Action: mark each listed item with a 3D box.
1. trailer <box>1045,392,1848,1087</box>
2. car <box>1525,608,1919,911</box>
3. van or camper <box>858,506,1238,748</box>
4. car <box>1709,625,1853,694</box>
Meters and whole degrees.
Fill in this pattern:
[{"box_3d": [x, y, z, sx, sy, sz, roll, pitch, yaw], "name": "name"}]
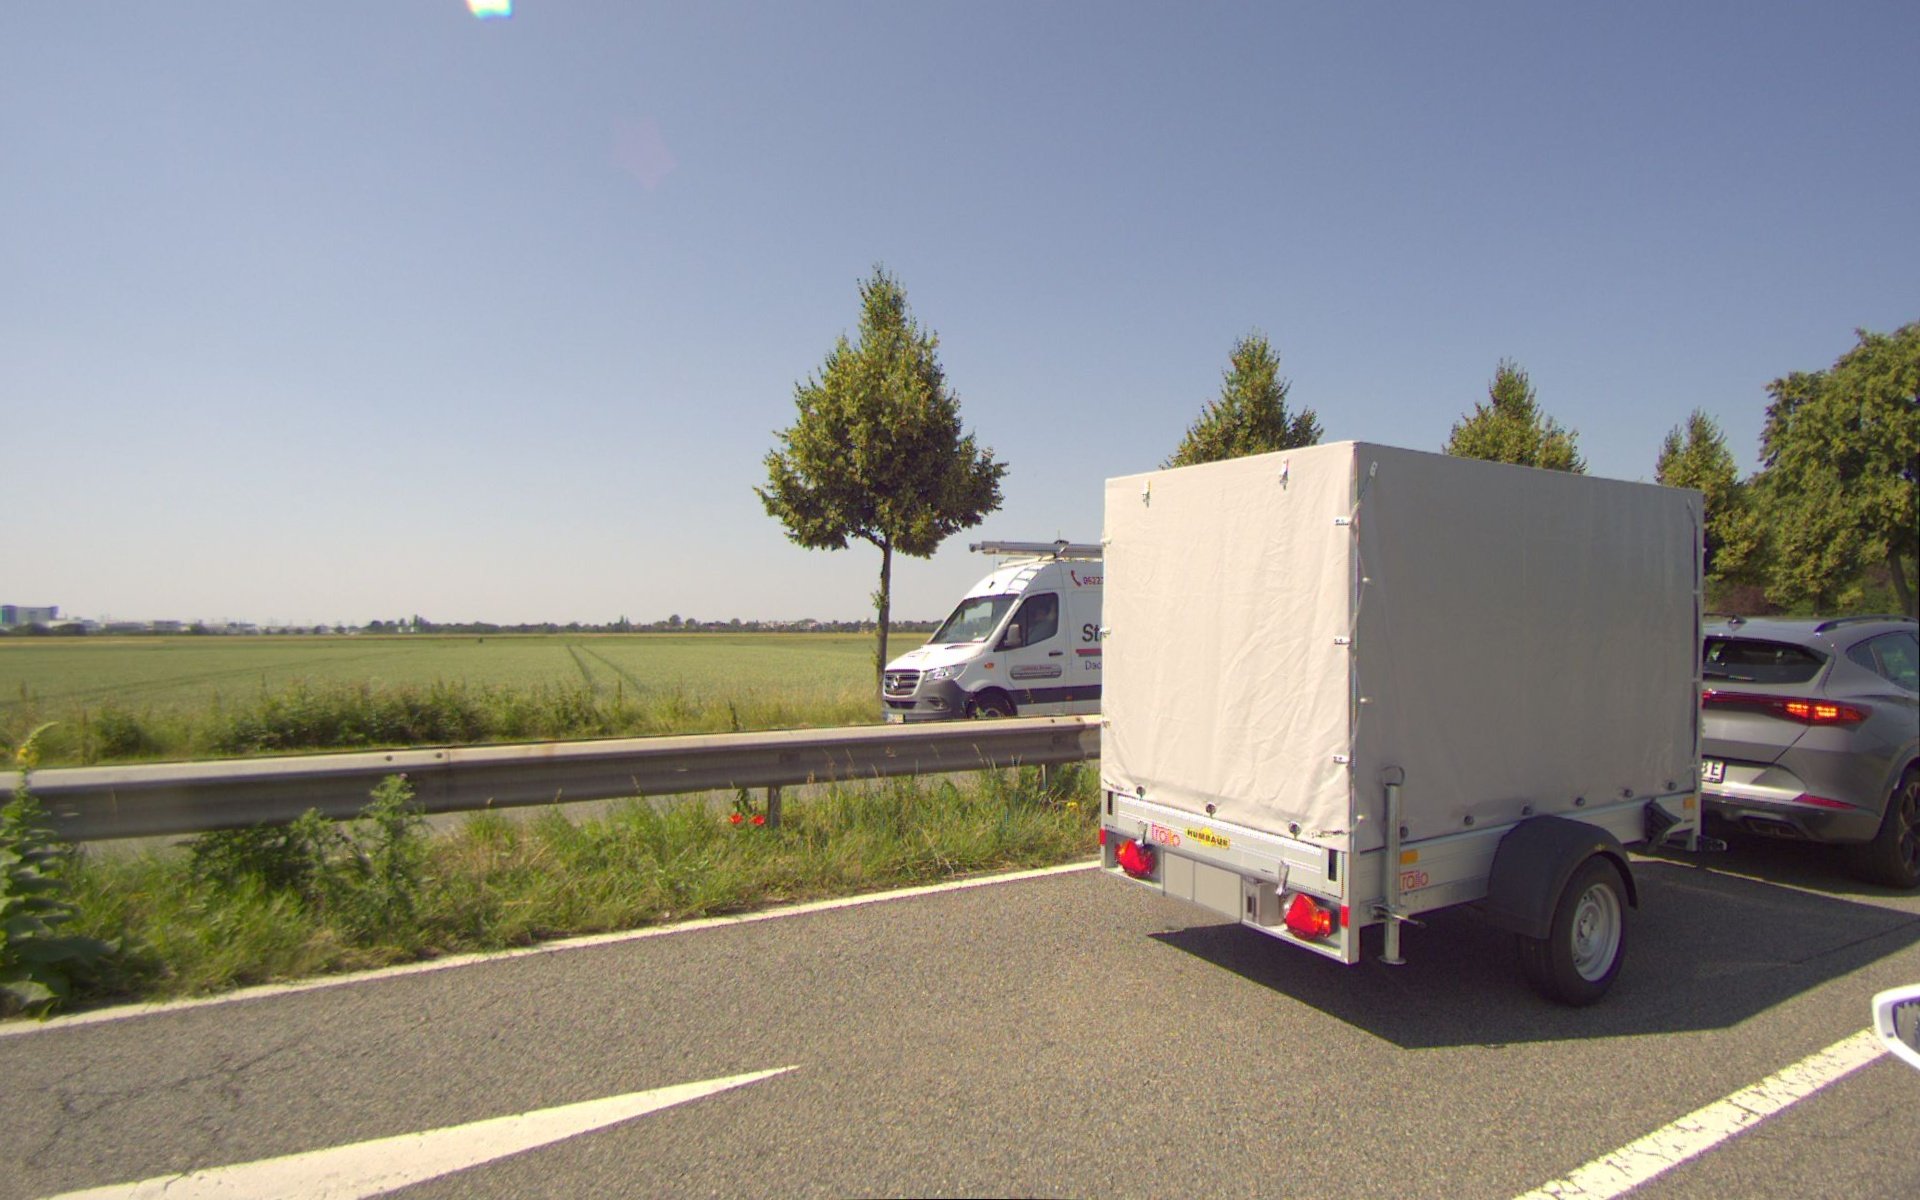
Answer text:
[{"box_3d": [2.528, 0.466, 4.884, 4.125, 2.202, 1.493, 1, 0, -31], "name": "trailer"}, {"box_3d": [6.007, 0.838, 6.951, 4.312, 1.523, 1.737, 1, 0, -31], "name": "car"}, {"box_3d": [1.448, 0.412, 15.482, 5.631, 3.140, 2.251, 1, -2, -32], "name": "van or camper"}, {"box_3d": [24.200, 1.691, 29.568, 4.644, 1.880, 1.848, 1, -2, -32], "name": "car"}]
